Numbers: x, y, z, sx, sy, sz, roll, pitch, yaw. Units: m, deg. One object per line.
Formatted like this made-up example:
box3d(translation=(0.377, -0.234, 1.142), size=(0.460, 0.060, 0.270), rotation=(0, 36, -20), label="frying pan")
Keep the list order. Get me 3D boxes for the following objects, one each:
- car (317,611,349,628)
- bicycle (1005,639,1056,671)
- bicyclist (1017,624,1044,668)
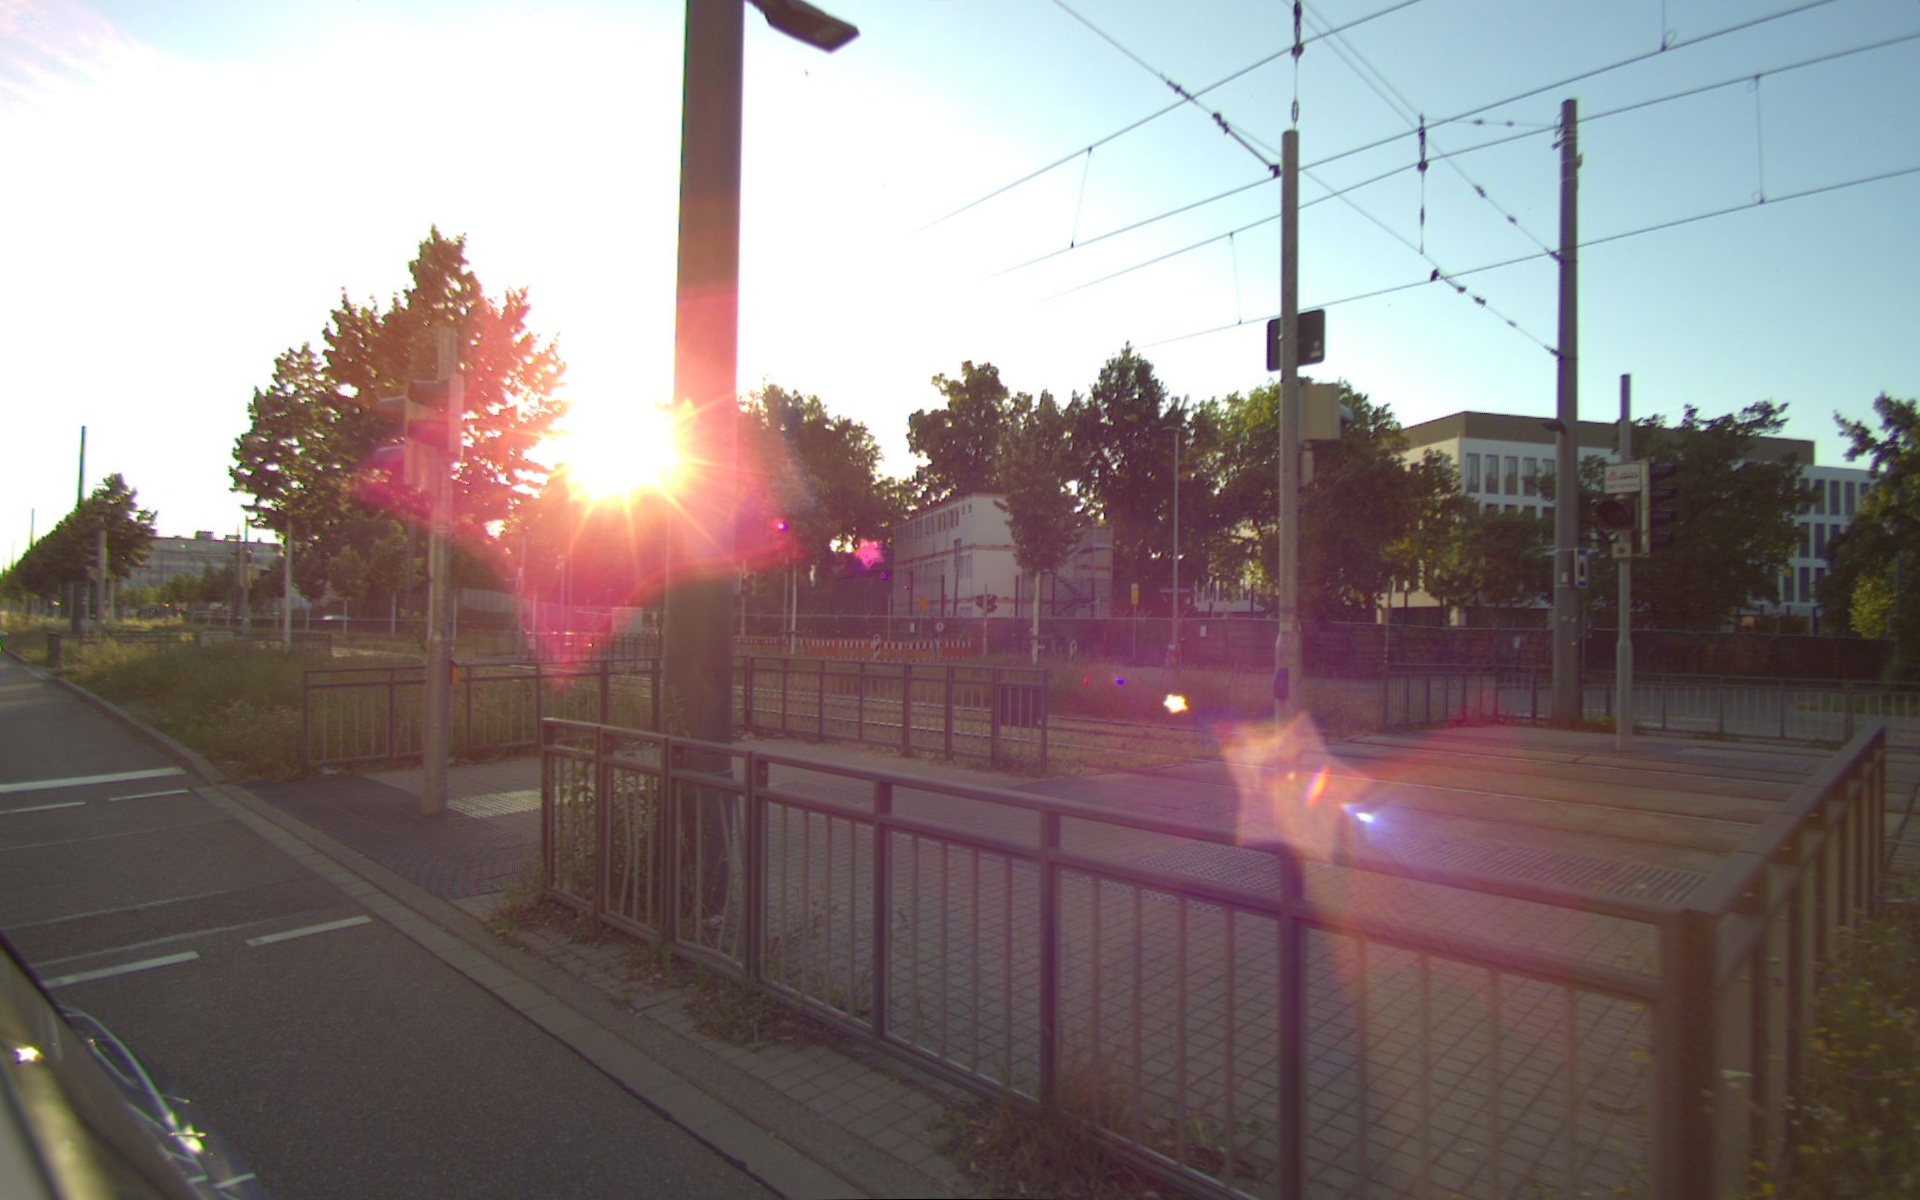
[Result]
box3d(translation=(-61.506, 1.885, 99.245), size=(1.823, 1.572, 3.802), rotation=(0, -1, -44), label="car")
box3d(translation=(2.680, 2.096, 38.416), size=(1.872, 1.142, 0.716), rotation=(-1, -1, 1), label="bicycle")
box3d(translation=(2.674, 1.741, 38.420), size=(0.931, 1.633, 0.717), rotation=(-1, -1, 1), label="bicyclist")
